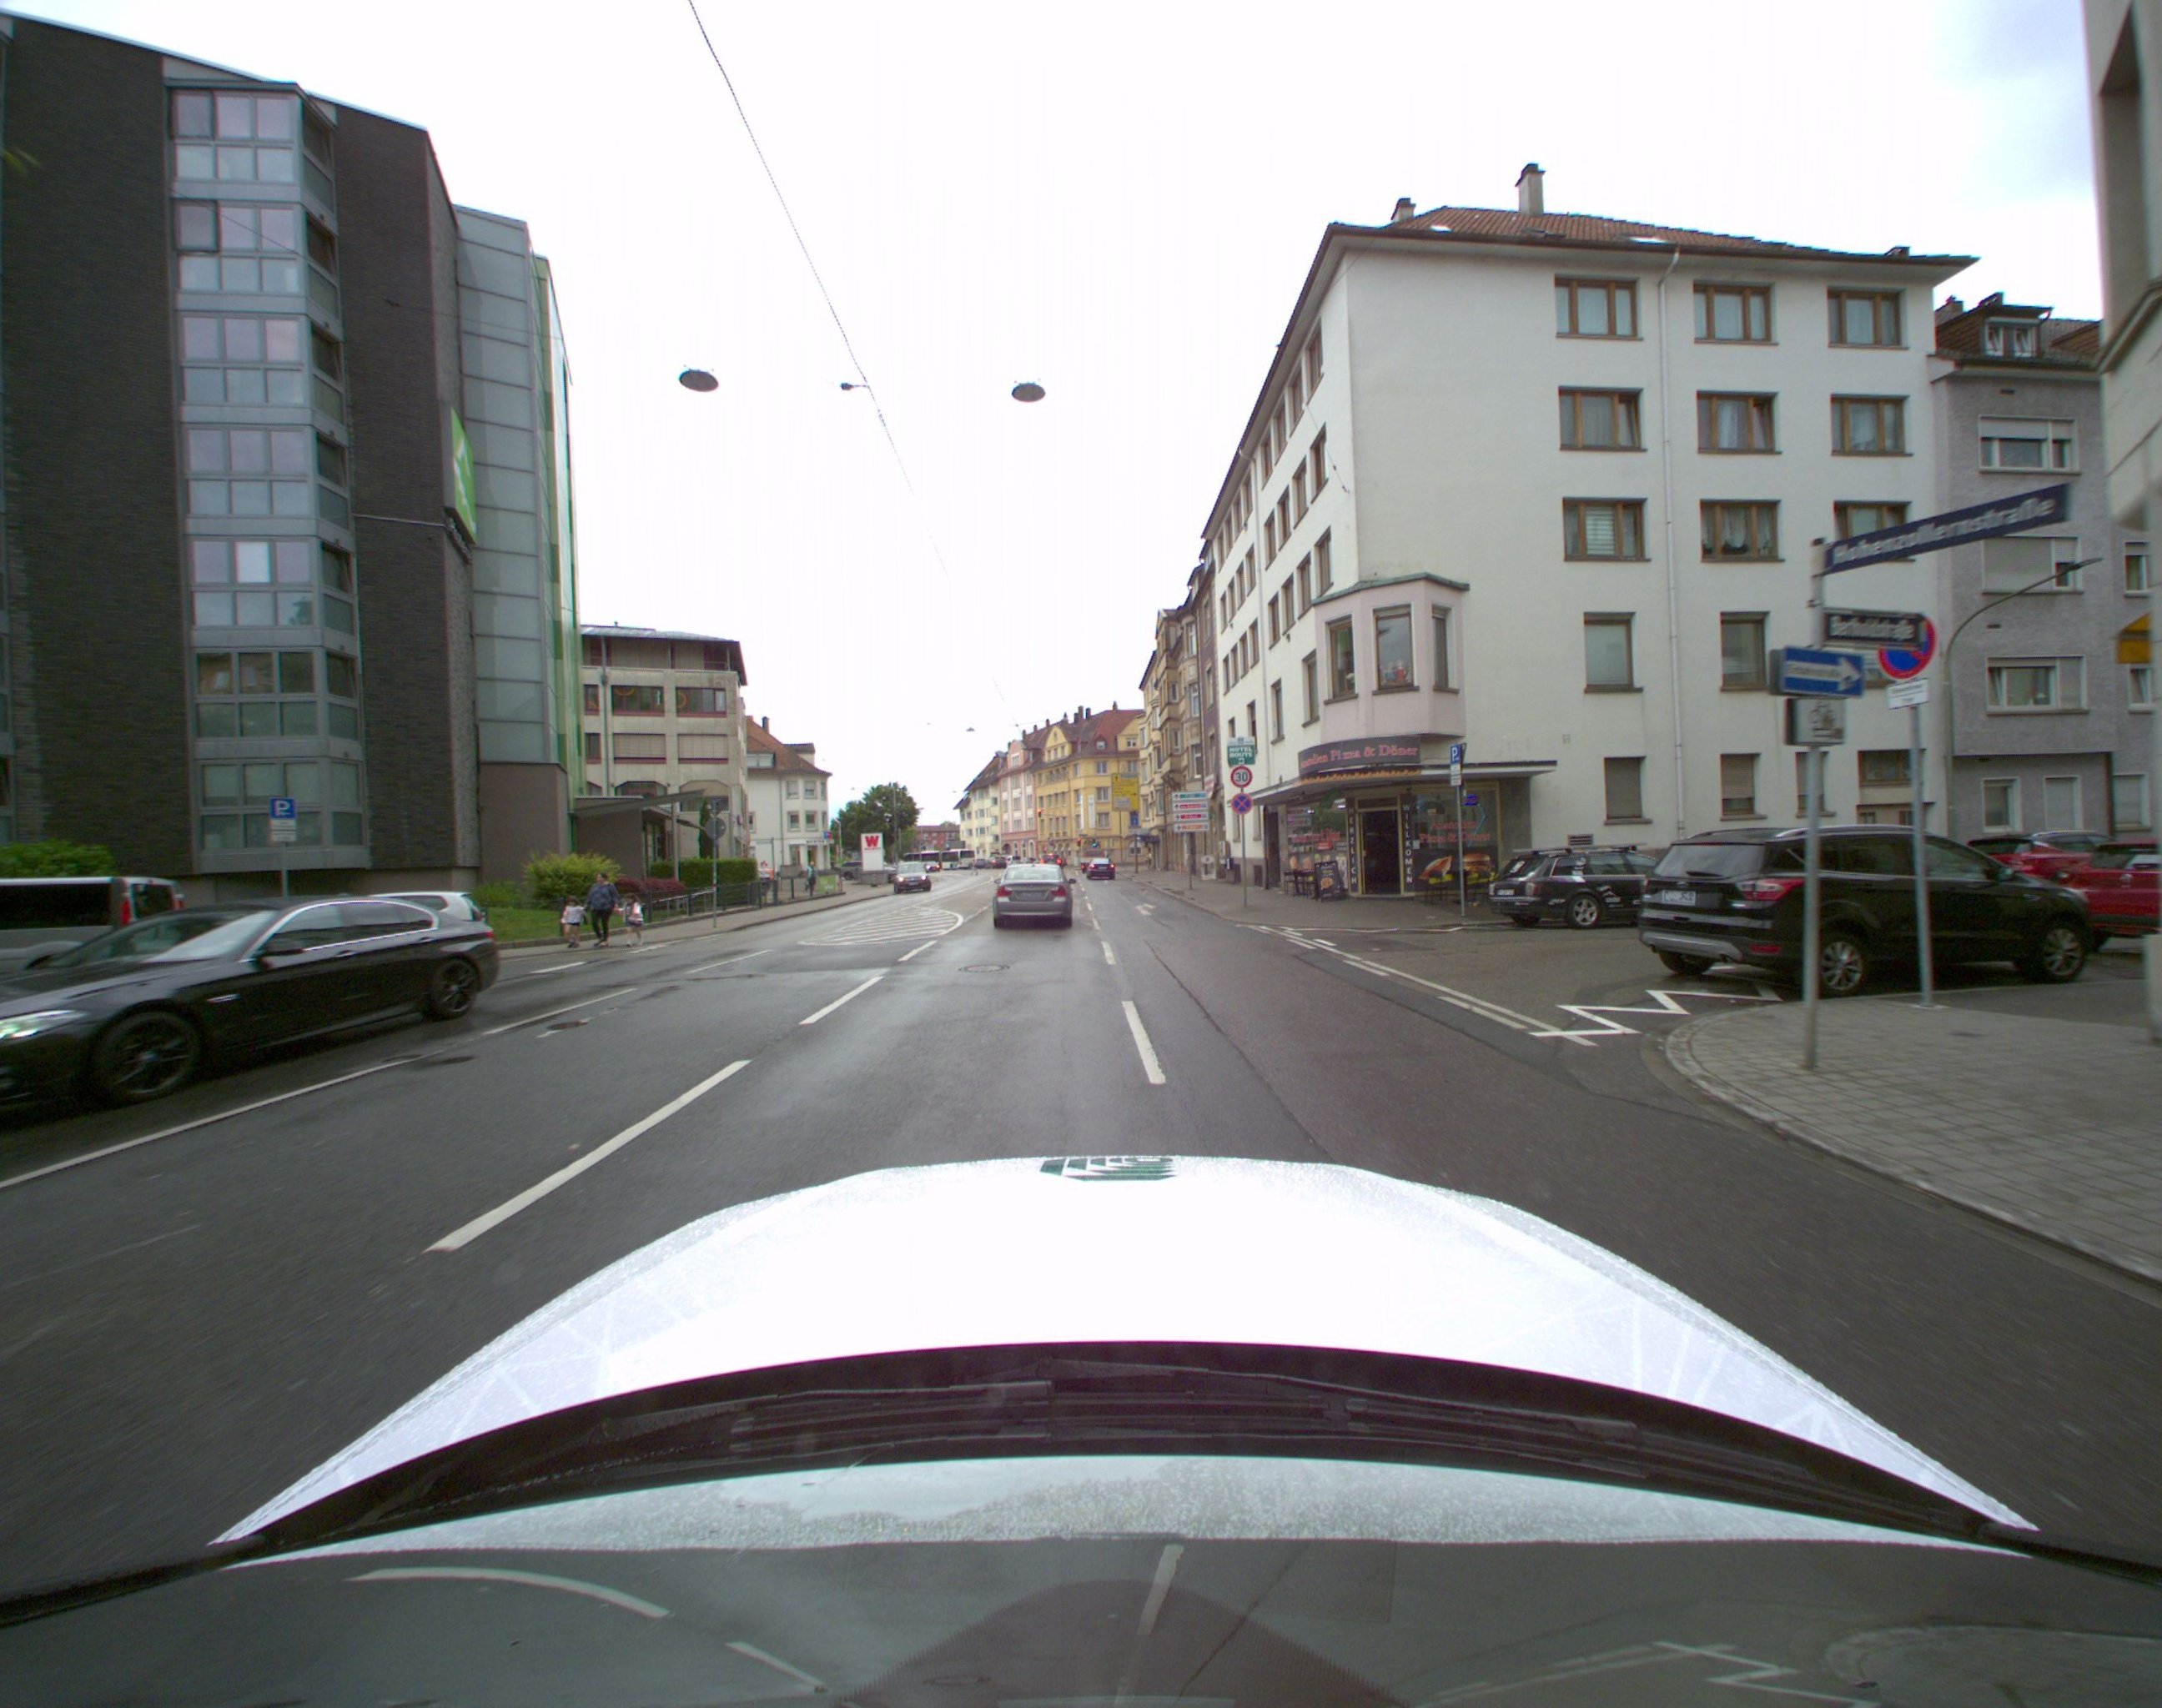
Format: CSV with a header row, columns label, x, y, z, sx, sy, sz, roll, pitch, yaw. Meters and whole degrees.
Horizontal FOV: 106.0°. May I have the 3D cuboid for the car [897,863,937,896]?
label,x,y,z,sx,sy,sz,roll,pitch,yaw
car,-8.978,1.350,44.341,1.951,1.659,4.037,-2,0,-14

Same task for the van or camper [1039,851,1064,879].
label,x,y,z,sx,sy,sz,roll,pitch,yaw
van or camper,-2.432,0.862,66.557,1.851,2.146,4.136,-1,0,-4

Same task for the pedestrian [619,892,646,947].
label,x,y,z,sx,sy,sz,roll,pitch,yaw
pedestrian,-10.134,1.478,18.400,0.408,1.198,0.310,-2,0,-8

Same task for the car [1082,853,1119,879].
label,x,y,z,sx,sy,sz,roll,pitch,yaw
car,1.201,0.783,52.005,1.797,1.563,3.991,-1,-1,-6

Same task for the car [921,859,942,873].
label,x,y,z,sx,sy,sz,roll,pitch,yaw
car,-19.311,1.555,105.132,1.852,1.684,3.970,-2,0,-22

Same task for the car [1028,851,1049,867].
label,x,y,z,sx,sy,sz,roll,pitch,yaw
car,-5.175,0.611,99.373,1.995,1.816,3.984,-2,-1,-11

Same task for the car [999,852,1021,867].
label,x,y,z,sx,sy,sz,roll,pitch,yaw
car,-10.020,0.793,115.441,1.771,2.180,3.965,1,-1,-26

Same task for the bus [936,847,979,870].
label,x,y,z,sx,sy,sz,roll,pitch,yaw
bus,-18.064,0.745,118.320,2.928,3.105,9.052,-2,0,-31

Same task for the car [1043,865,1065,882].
label,x,y,z,sx,sy,sz,roll,pitch,yaw
car,-2.487,1.735,73.419,1.799,1.406,4.677,-1,-1,-4

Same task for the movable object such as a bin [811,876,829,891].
label,x,y,z,sx,sy,sz,roll,pitch,yaw
movable object such as a bin,-14.876,1.675,46.440,0.745,0.789,0.737,-2,0,44

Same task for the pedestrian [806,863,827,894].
label,x,y,z,sx,sy,sz,roll,pitch,yaw
pedestrian,-14.871,1.397,45.790,0.745,1.685,0.752,-3,0,44

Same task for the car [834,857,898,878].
label,x,y,z,sx,sy,sz,roll,pitch,yaw
car,-16.290,0.993,61.876,4.440,1.526,1.882,1,-1,-7

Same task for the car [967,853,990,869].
label,x,y,z,sx,sy,sz,roll,pitch,yaw
car,-13.615,0.884,108.174,2.002,2.013,3.970,-2,0,-22

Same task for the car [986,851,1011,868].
label,x,y,z,sx,sy,sz,roll,pitch,yaw
car,-10.324,0.673,101.536,2.002,2.013,3.970,-2,0,-22

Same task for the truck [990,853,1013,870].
label,x,y,z,sx,sy,sz,roll,pitch,yaw
truck,-11.820,1.101,121.254,2.037,2.389,4.200,-1,0,-26

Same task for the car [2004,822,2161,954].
label,x,y,z,sx,sy,sz,roll,pitch,yaw
car,14.073,0.328,10.052,3.682,1.491,1.776,-2,-1,-8

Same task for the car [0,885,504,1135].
label,x,y,z,sx,sy,sz,roll,pitch,yaw
car,-7.855,1.111,7.404,2.008,1.425,4.497,-2,0,-1

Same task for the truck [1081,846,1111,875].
label,x,y,z,sx,sy,sz,roll,pitch,yaw
truck,1.159,0.514,66.996,2.218,2.249,5.059,-1,0,-2

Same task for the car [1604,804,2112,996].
label,x,y,z,sx,sy,sz,roll,pitch,yaw
car,8.357,0.428,8.971,4.134,1.772,1.868,-1,0,-8

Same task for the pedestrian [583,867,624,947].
label,x,y,z,sx,sy,sz,roll,pitch,yaw
pedestrian,-10.784,1.179,18.394,0.573,1.762,0.579,-2,0,-8

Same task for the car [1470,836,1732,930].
label,x,y,z,sx,sy,sz,roll,pitch,yaw
car,10.100,0.546,15.993,4.103,1.607,1.801,-2,-2,-8

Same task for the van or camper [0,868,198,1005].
label,x,y,z,sx,sy,sz,roll,pitch,yaw
van or camper,-17.510,1.308,12.480,4.983,2.014,1.980,-1,-3,-31

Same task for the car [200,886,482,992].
label,x,y,z,sx,sy,sz,roll,pitch,yaw
car,-13.310,1.445,14.970,3.603,1.569,1.722,-1,0,-34

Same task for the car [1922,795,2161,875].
label,x,y,z,sx,sy,sz,roll,pitch,yaw
car,20.997,-0.396,17.663,3.886,1.579,1.904,-1,-1,-8

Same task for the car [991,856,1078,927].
label,x,y,z,sx,sy,sz,roll,pitch,yaw
car,-1.052,0.839,19.208,1.795,1.464,4.366,1,-1,-2

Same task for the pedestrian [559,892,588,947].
label,x,y,z,sx,sy,sz,roll,pitch,yaw
pedestrian,-11.444,1.461,18.363,0.408,1.198,0.358,-2,0,-8

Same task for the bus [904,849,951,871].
label,x,y,z,sx,sy,sz,roll,pitch,yaw
bus,-23.668,0.962,125.456,2.934,3.105,8.764,-2,0,-42

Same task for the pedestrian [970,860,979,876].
label,x,y,z,sx,sy,sz,roll,pitch,yaw
pedestrian,-9.985,1.321,76.625,0.763,1.529,0.505,0,-2,-22
